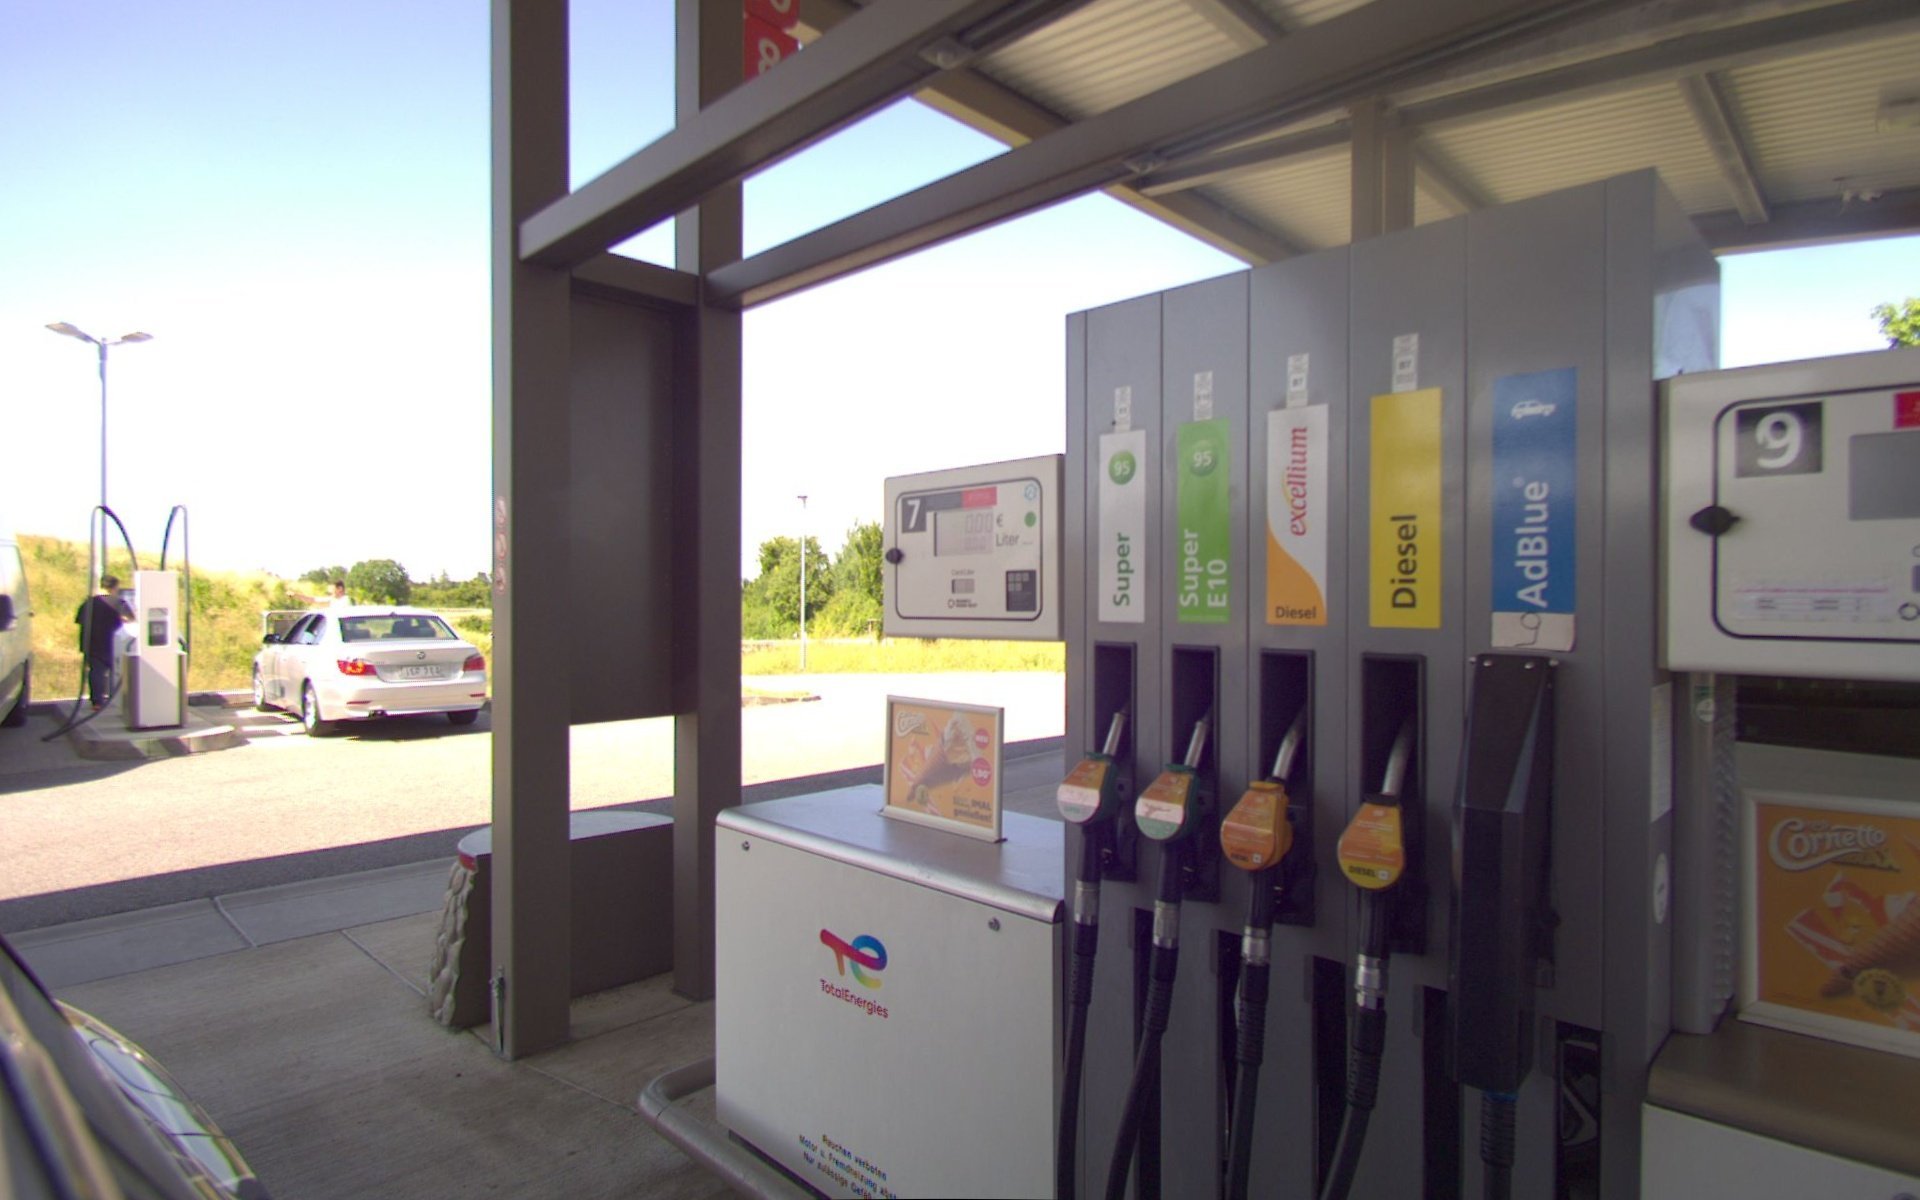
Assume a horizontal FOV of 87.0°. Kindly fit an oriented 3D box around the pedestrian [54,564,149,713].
[{"bbox_3d":[-10.728,0.466,12.679,0.697,1.783,0.848,0,-1,-24],"label":"pedestrian"}]

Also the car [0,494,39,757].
[{"bbox_3d":[-10.707,0.239,9.961,1.968,2.590,7.045,1,1,-39],"label":"car"}]

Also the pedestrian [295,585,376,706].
[{"bbox_3d":[-9.341,0.665,15.164,0.699,1.762,0.845,0,-1,0],"label":"pedestrian"}]

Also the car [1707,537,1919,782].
[{"bbox_3d":[8.077,0.398,7.014,4.533,1.700,1.840,-1,-1,41],"label":"car"}]

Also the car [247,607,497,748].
[{"bbox_3d":[-7.610,0.837,12.898,1.766,1.439,4.325,0,0,-44],"label":"car"}]

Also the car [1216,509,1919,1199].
[{"bbox_3d":[2.947,0.587,2.250,1.760,1.553,4.328,0,-1,-45],"label":"car"}]
